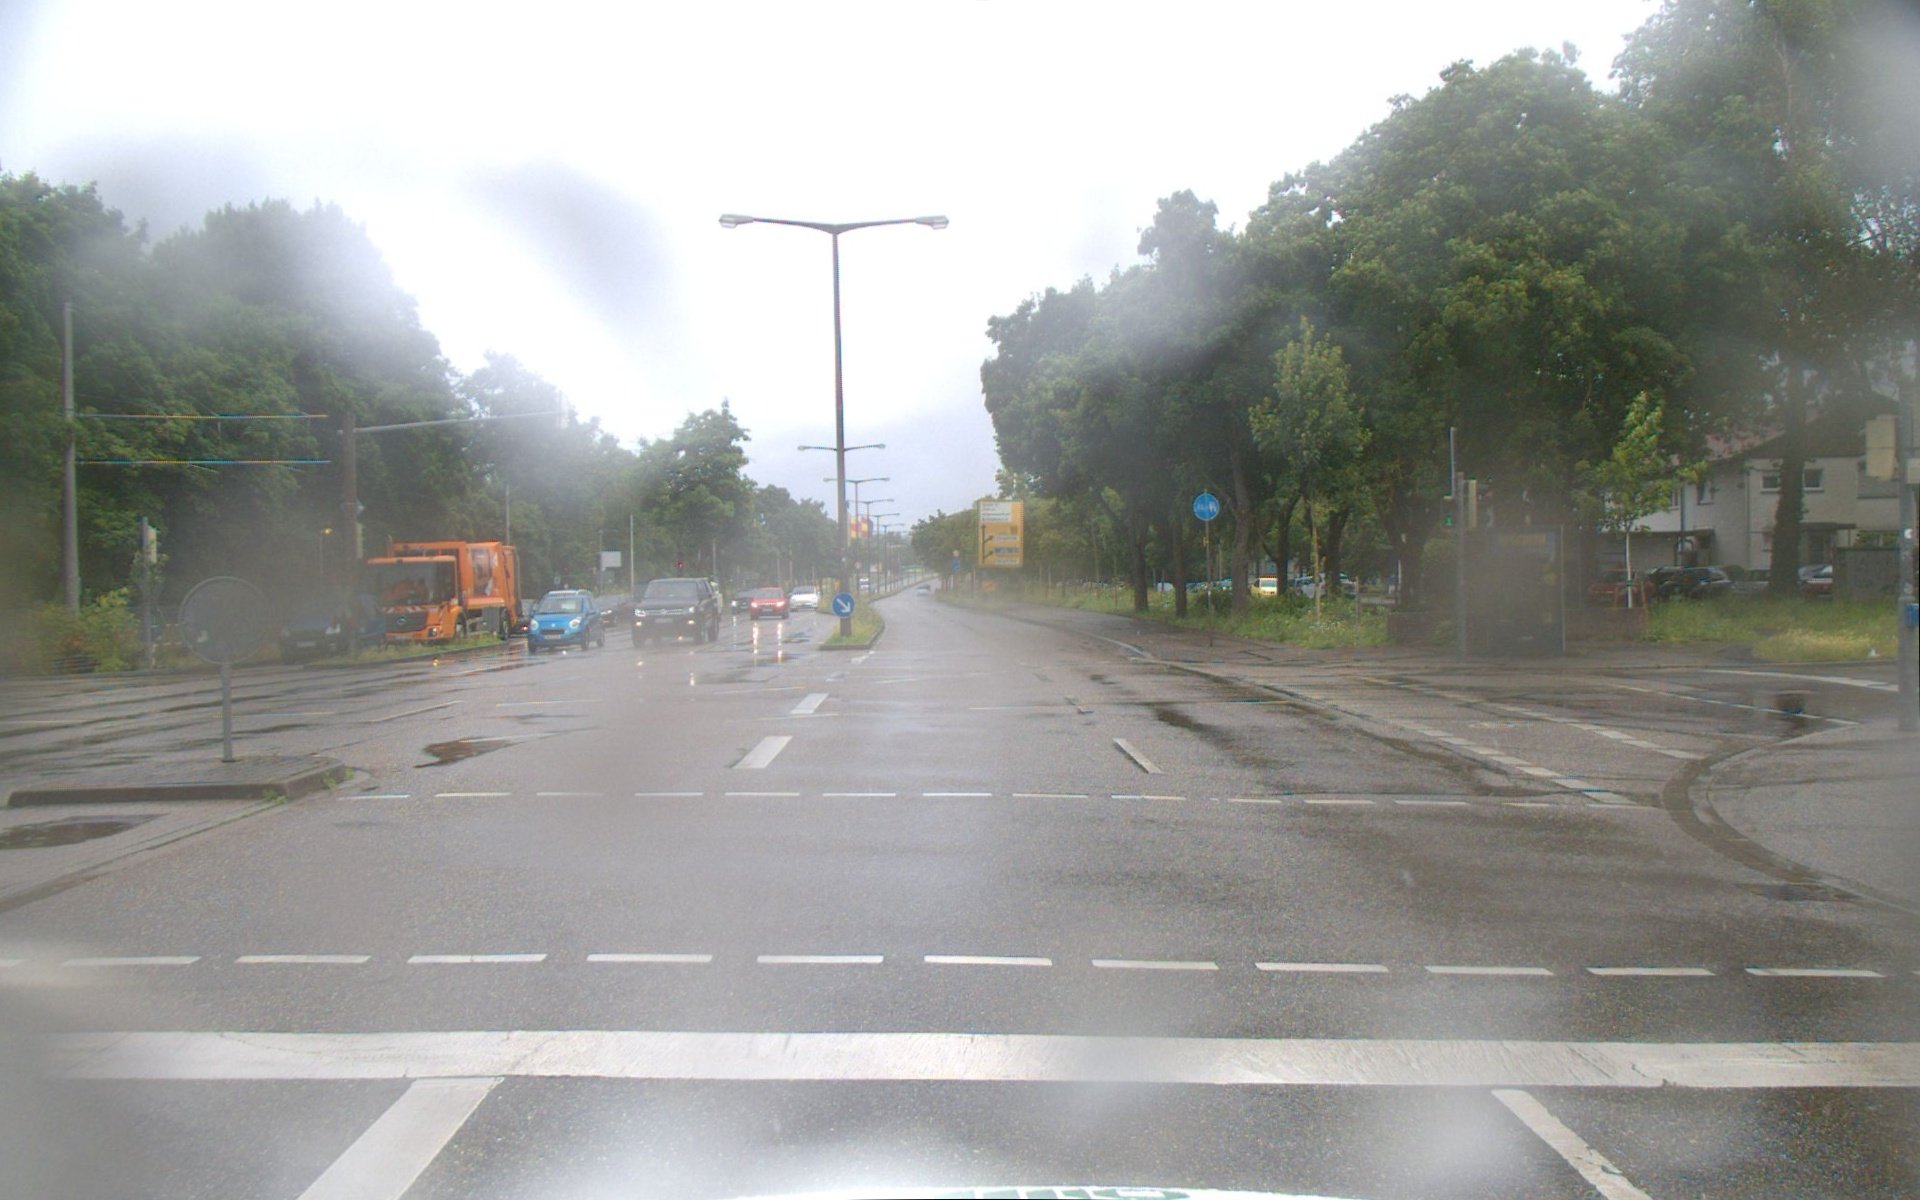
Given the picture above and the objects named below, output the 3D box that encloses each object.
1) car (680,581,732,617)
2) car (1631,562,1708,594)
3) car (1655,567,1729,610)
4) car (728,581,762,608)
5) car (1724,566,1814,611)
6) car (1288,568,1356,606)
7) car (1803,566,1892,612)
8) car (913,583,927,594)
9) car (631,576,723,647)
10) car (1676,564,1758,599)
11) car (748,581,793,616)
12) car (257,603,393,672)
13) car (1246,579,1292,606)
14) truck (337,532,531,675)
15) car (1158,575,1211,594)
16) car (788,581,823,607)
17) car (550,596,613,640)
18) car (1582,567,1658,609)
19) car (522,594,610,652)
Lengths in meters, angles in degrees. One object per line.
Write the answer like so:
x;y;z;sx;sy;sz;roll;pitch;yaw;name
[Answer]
-12.204;-0.065;79.600;1.855;1.639;4.499;-1;1;-1;car
30.562;-0.939;71.372;1.541;1.339;3.699;0;0;-4;car
25.998;-0.387;58.689;1.637;1.474;3.736;1;0;37;car
-14.106;-0.358;108.597;1.672;1.670;4.330;-3;1;-1;car
27.766;-0.367;56.728;3.723;1.474;1.643;1;0;-44;car
17.717;-0.618;81.168;1.954;1.747;4.875;-2;0;-4;car
29.528;-0.345;55.015;3.723;1.474;1.578;1;0;-44;car
-5.756;-1.717;237.127;1.868;1.541;3.999;-1;1;-1;car
-7.893;0.275;46.547;1.769;1.804;5.087;-2;1;-2;car
32.759;-0.779;71.679;1.552;1.409;3.997;1;0;-4;car
-9.289;-0.080;81.286;1.765;1.597;4.427;-3;0;-2;car
-17.069;0.967;44.704;1.953;1.739;4.526;1;0;0;car
17.636;-0.406;94.599;1.605;1.512;4.070;1;0;-4;car
-17.151;0.106;54.887;3.316;4.240;10.403;1;0;-2;truck
20.588;-1.393;151.552;4.483;1.673;1.997;0;0;-7;car
-10.220;-0.399;109.572;1.921;1.645;4.696;-2;1;-2;car
-17.007;0.787;74.491;1.954;1.859;4.769;1;0;-3;car
23.964;-0.413;60.010;1.637;1.474;3.736;1;0;37;car
-10.796;0.607;45.517;1.608;1.452;3.997;-3;0;-3;car
